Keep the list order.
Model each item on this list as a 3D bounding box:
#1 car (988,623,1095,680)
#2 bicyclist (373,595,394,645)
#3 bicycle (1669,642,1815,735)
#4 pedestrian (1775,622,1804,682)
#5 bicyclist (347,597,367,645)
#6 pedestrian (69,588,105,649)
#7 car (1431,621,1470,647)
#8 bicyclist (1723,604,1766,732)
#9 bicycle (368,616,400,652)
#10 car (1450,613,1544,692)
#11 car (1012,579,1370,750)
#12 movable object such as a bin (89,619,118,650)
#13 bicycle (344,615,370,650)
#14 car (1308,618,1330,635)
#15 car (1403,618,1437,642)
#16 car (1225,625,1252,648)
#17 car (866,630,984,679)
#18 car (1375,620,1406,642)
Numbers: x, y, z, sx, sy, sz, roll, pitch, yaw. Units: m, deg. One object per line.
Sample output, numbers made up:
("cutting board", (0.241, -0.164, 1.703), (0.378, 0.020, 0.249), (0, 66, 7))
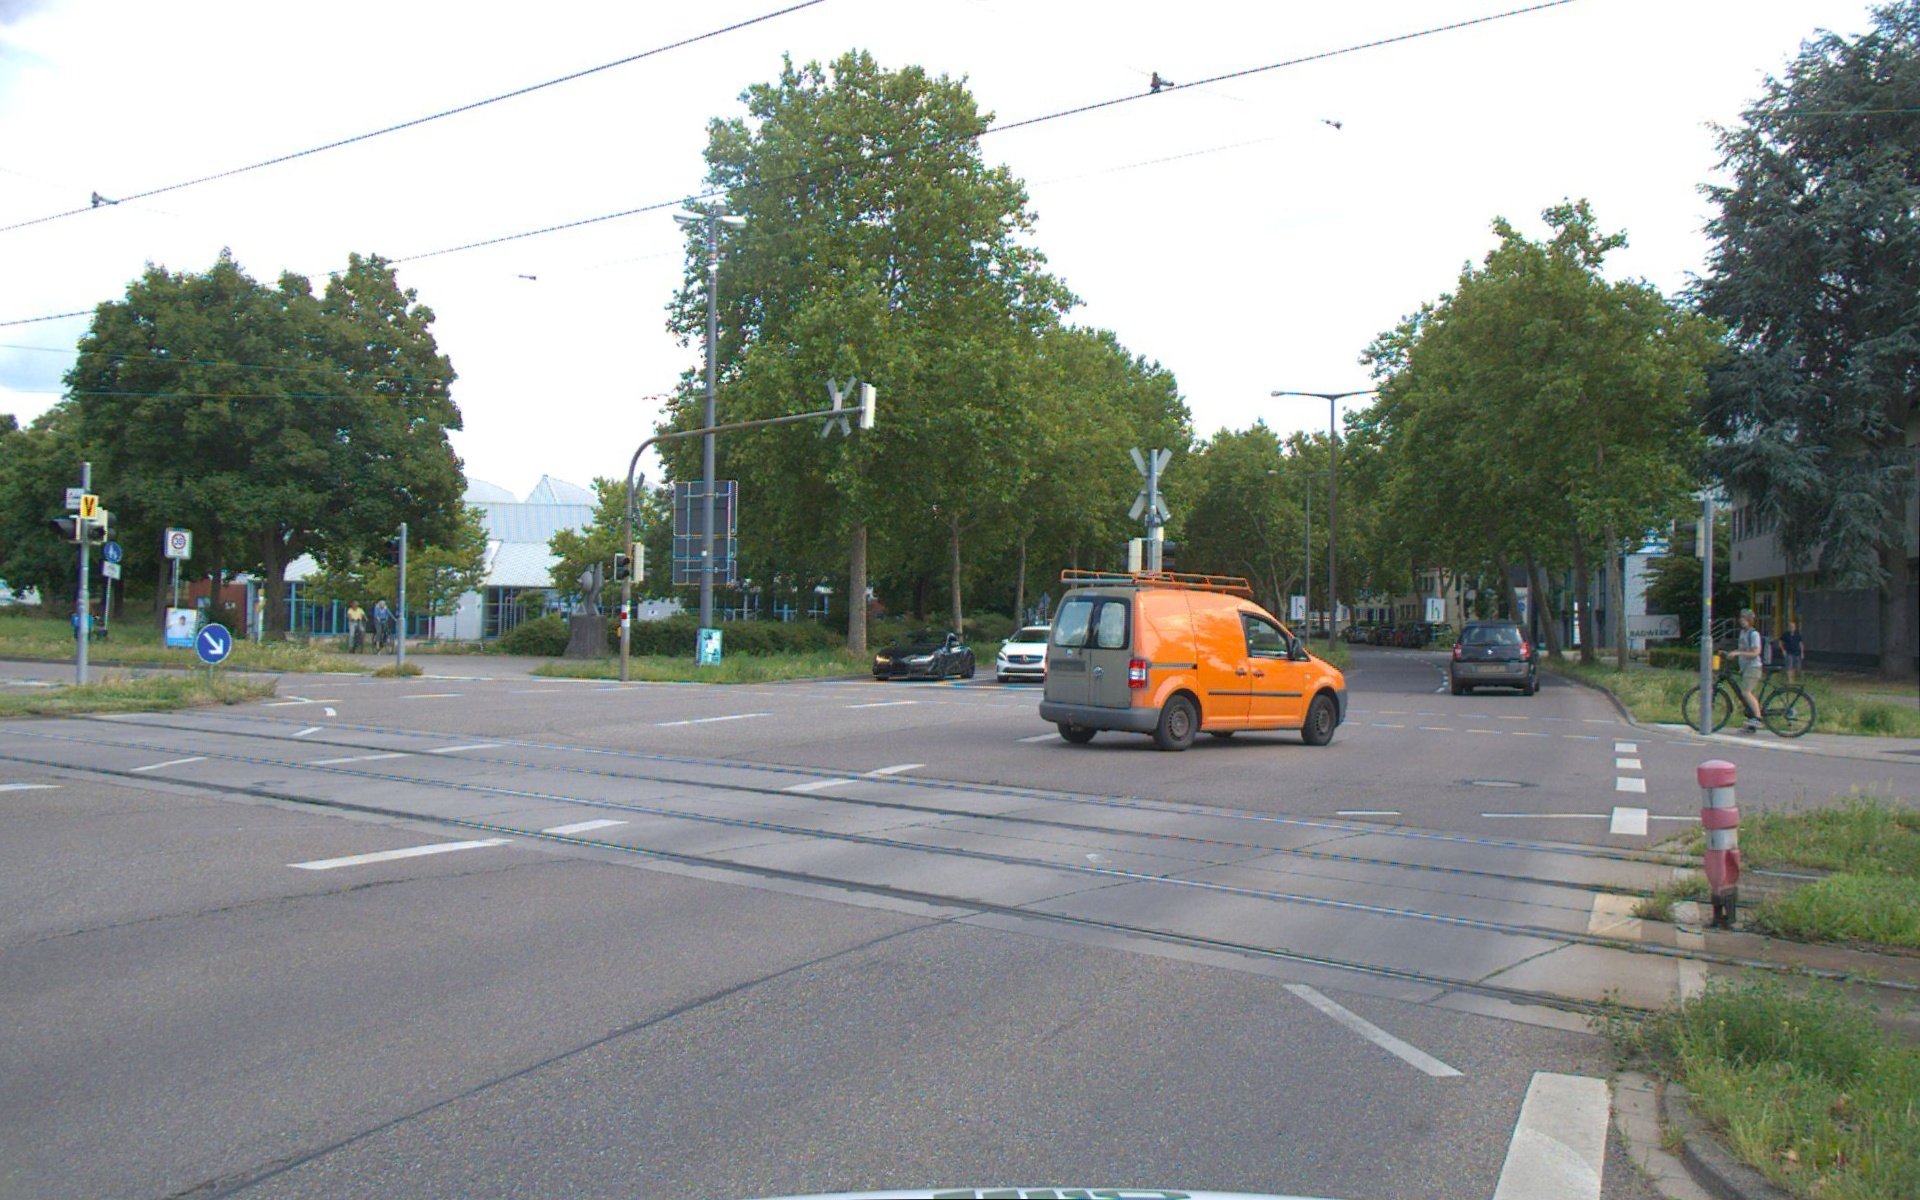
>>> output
("car", (2.201, 1.329, 43.595), (1.787, 1.388, 4.139), (1, -1, 18))
("bicyclist", (-18.628, 0.641, 53.442), (0.482, 1.581, 0.549), (3, -3, -36))
("bicycle", (11.474, 1.275, 24.284), (1.909, 1.257, 0.540), (1, 1, 29))
("pedestrian", (22.643, 1.406, 45.148), (0.607, 1.597, 0.559), (1, 1, 19))
("bicyclist", (-20.325, 0.703, 55.754), (0.481, 1.581, 0.550), (3, -2, -32))
("pedestrian", (-24.331, 0.521, 46.110), (0.622, 1.673, 0.614), (0, 1, 12))
("car", (33.100, 2.283, 111.755), (1.951, 1.601, 4.004), (0, 1, 8))
("bicyclist", (11.509, 0.984, 24.259), (0.533, 1.841, 0.540), (1, 1, 29))
("bicycle", (-18.593, 1.095, 53.373), (0.556, 1.150, 1.362), (3, -2, -36))
("car", (12.034, 1.163, 36.959), (1.695, 1.659, 4.051), (-1, -2, 22))
("car", (2.846, 0.730, 19.808), (4.330, 1.831, 1.856), (2, -1, -41))
("movable object such as a bin", (-23.820, 0.953, 46.009), (0.448, 0.825, 0.579), (0, 1, 11))
("bicycle", (-20.323, 1.082, 55.730), (0.555, 1.150, 1.365), (1, -1, -31))
("car", (37.344, 2.784, 172.291), (1.951, 1.601, 4.004), (0, 1, 8))
("car", (34.372, 2.250, 123.733), (1.951, 1.601, 4.004), (0, 1, 8))
("car", (17.736, 2.291, 105.495), (1.621, 1.293, 3.775), (0, 1, 8))
("car", (-0.883, 1.420, 43.997), (1.603, 1.212, 3.704), (1, -1, 26))
("car", (34.413, 2.462, 132.214), (1.951, 1.601, 4.004), (0, 1, 8))
